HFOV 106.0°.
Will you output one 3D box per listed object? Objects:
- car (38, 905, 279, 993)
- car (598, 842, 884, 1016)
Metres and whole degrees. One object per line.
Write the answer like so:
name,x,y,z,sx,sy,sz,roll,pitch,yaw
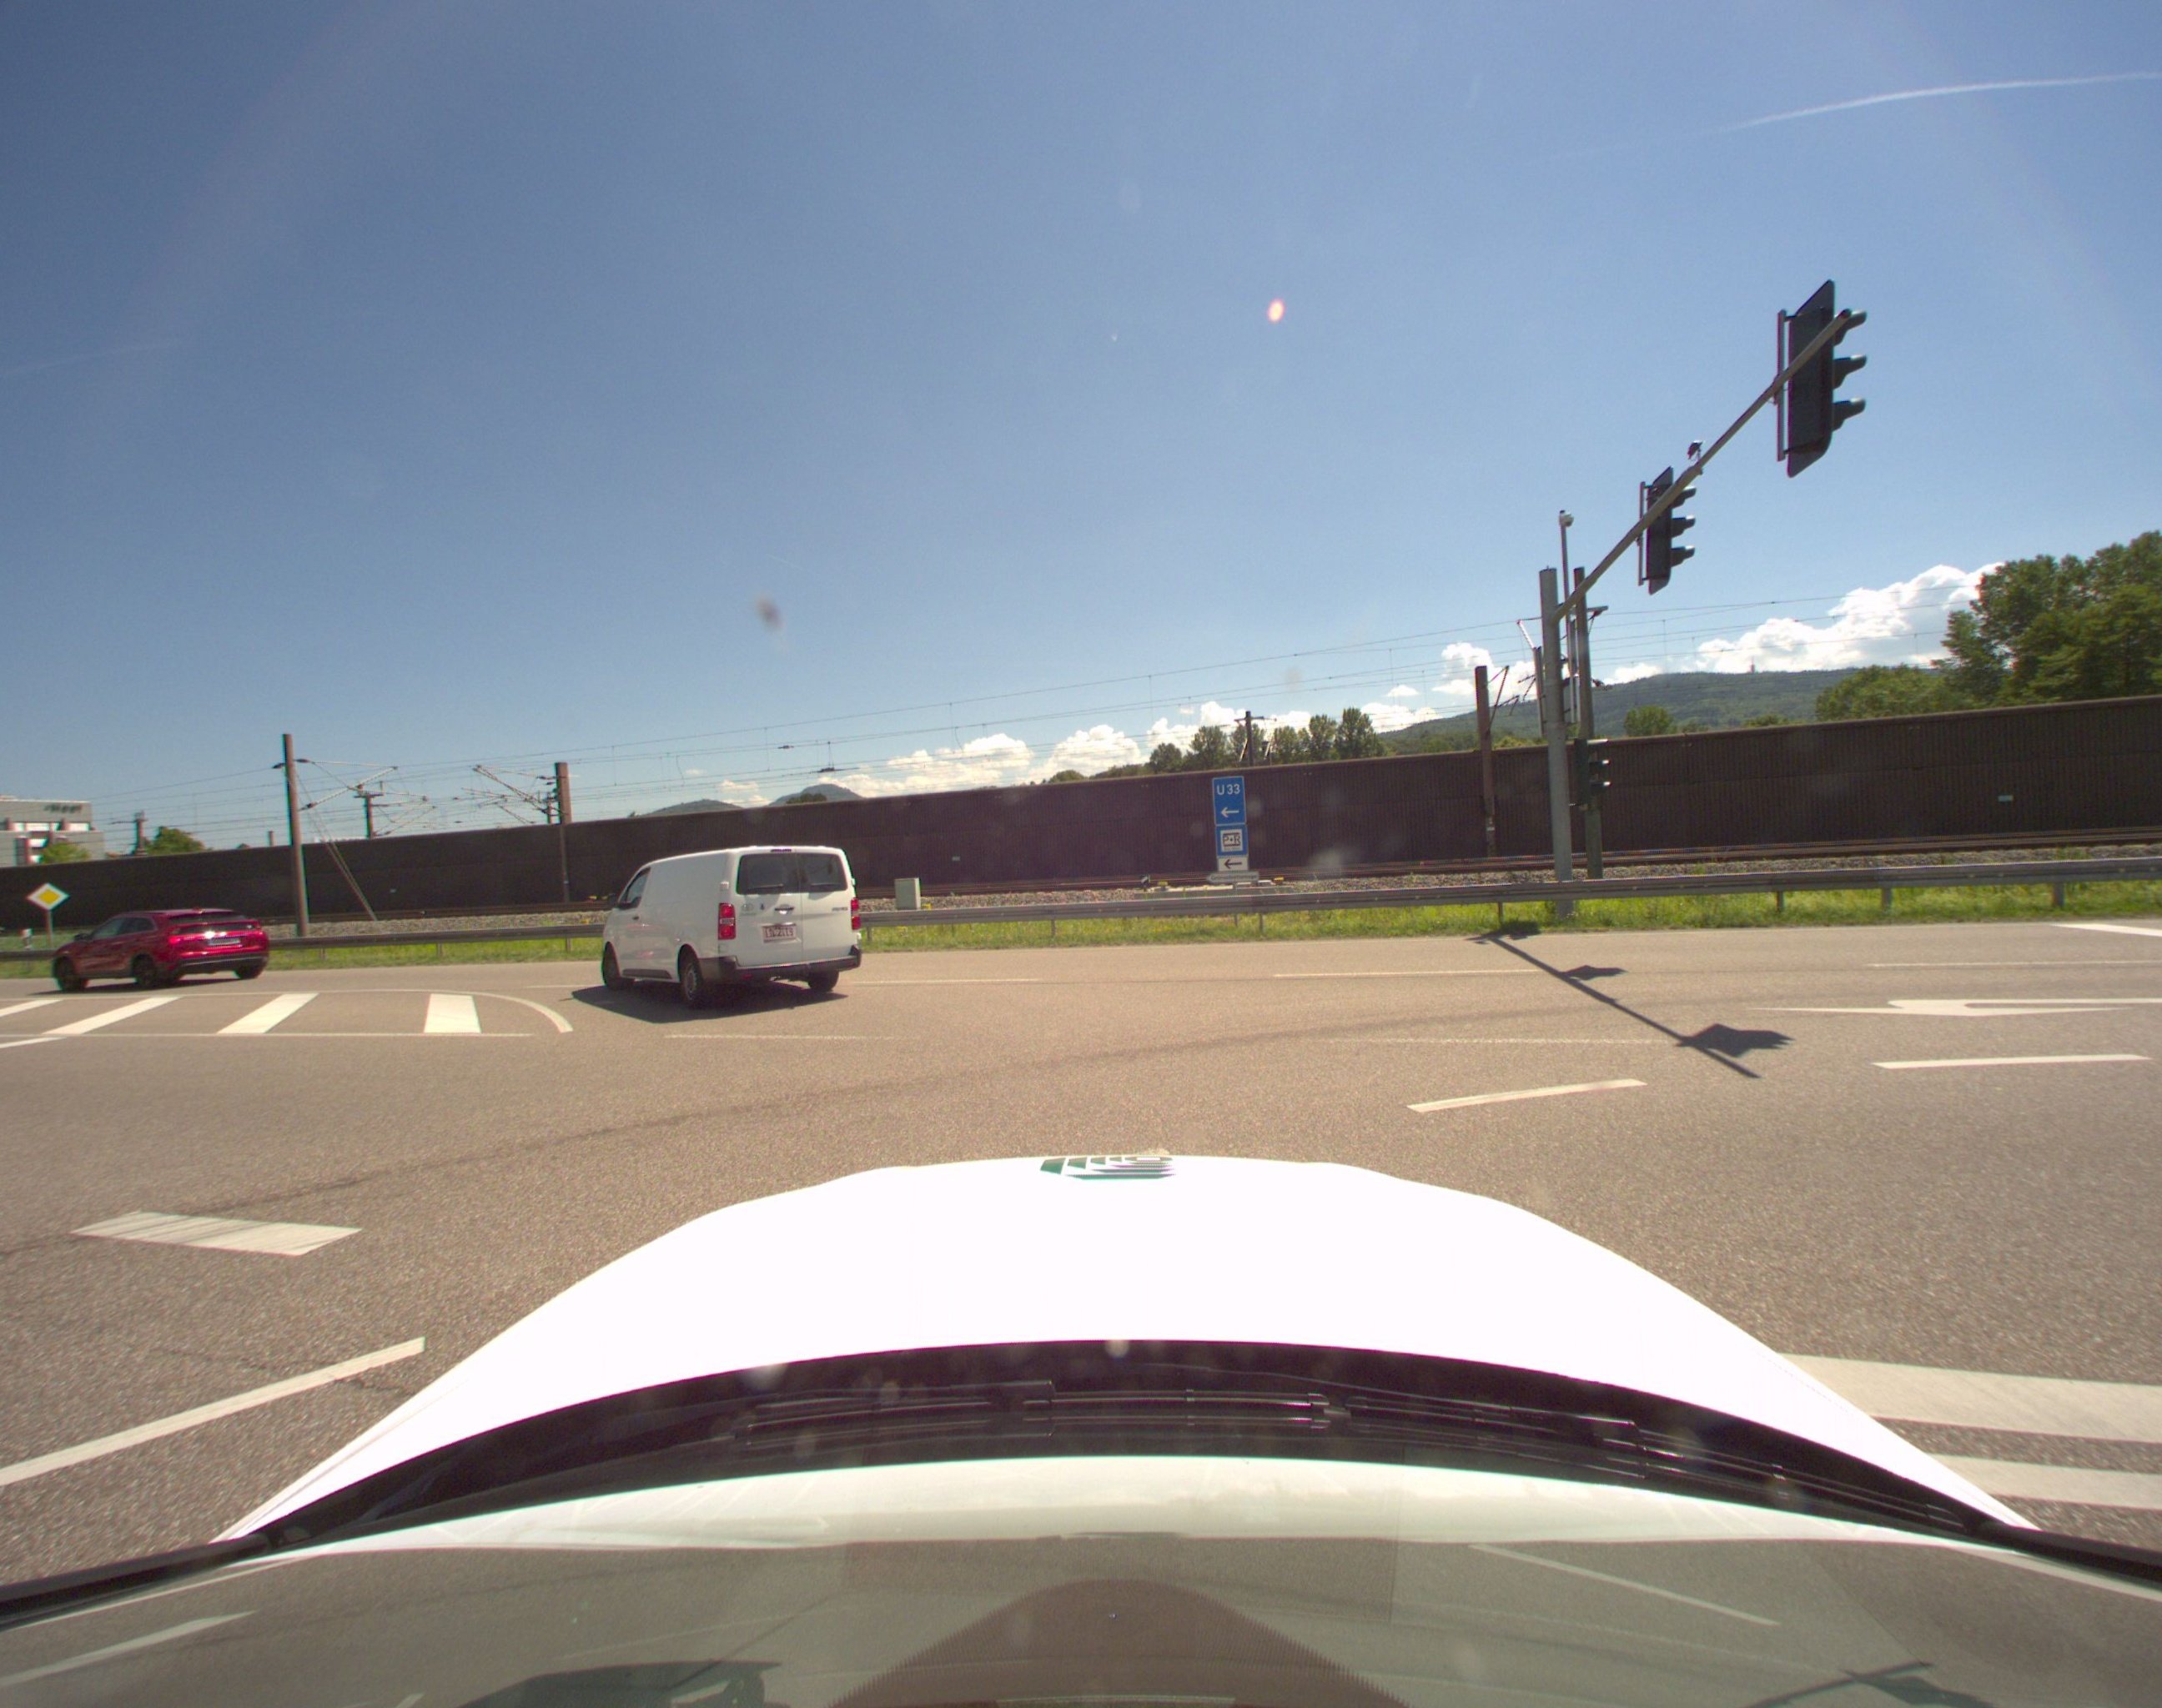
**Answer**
car,-20.417,2.088,18.067,4.096,1.649,1.920,-4,-1,16
car,-4.910,0.937,11.323,1.963,1.881,4.820,-2,-2,-44
